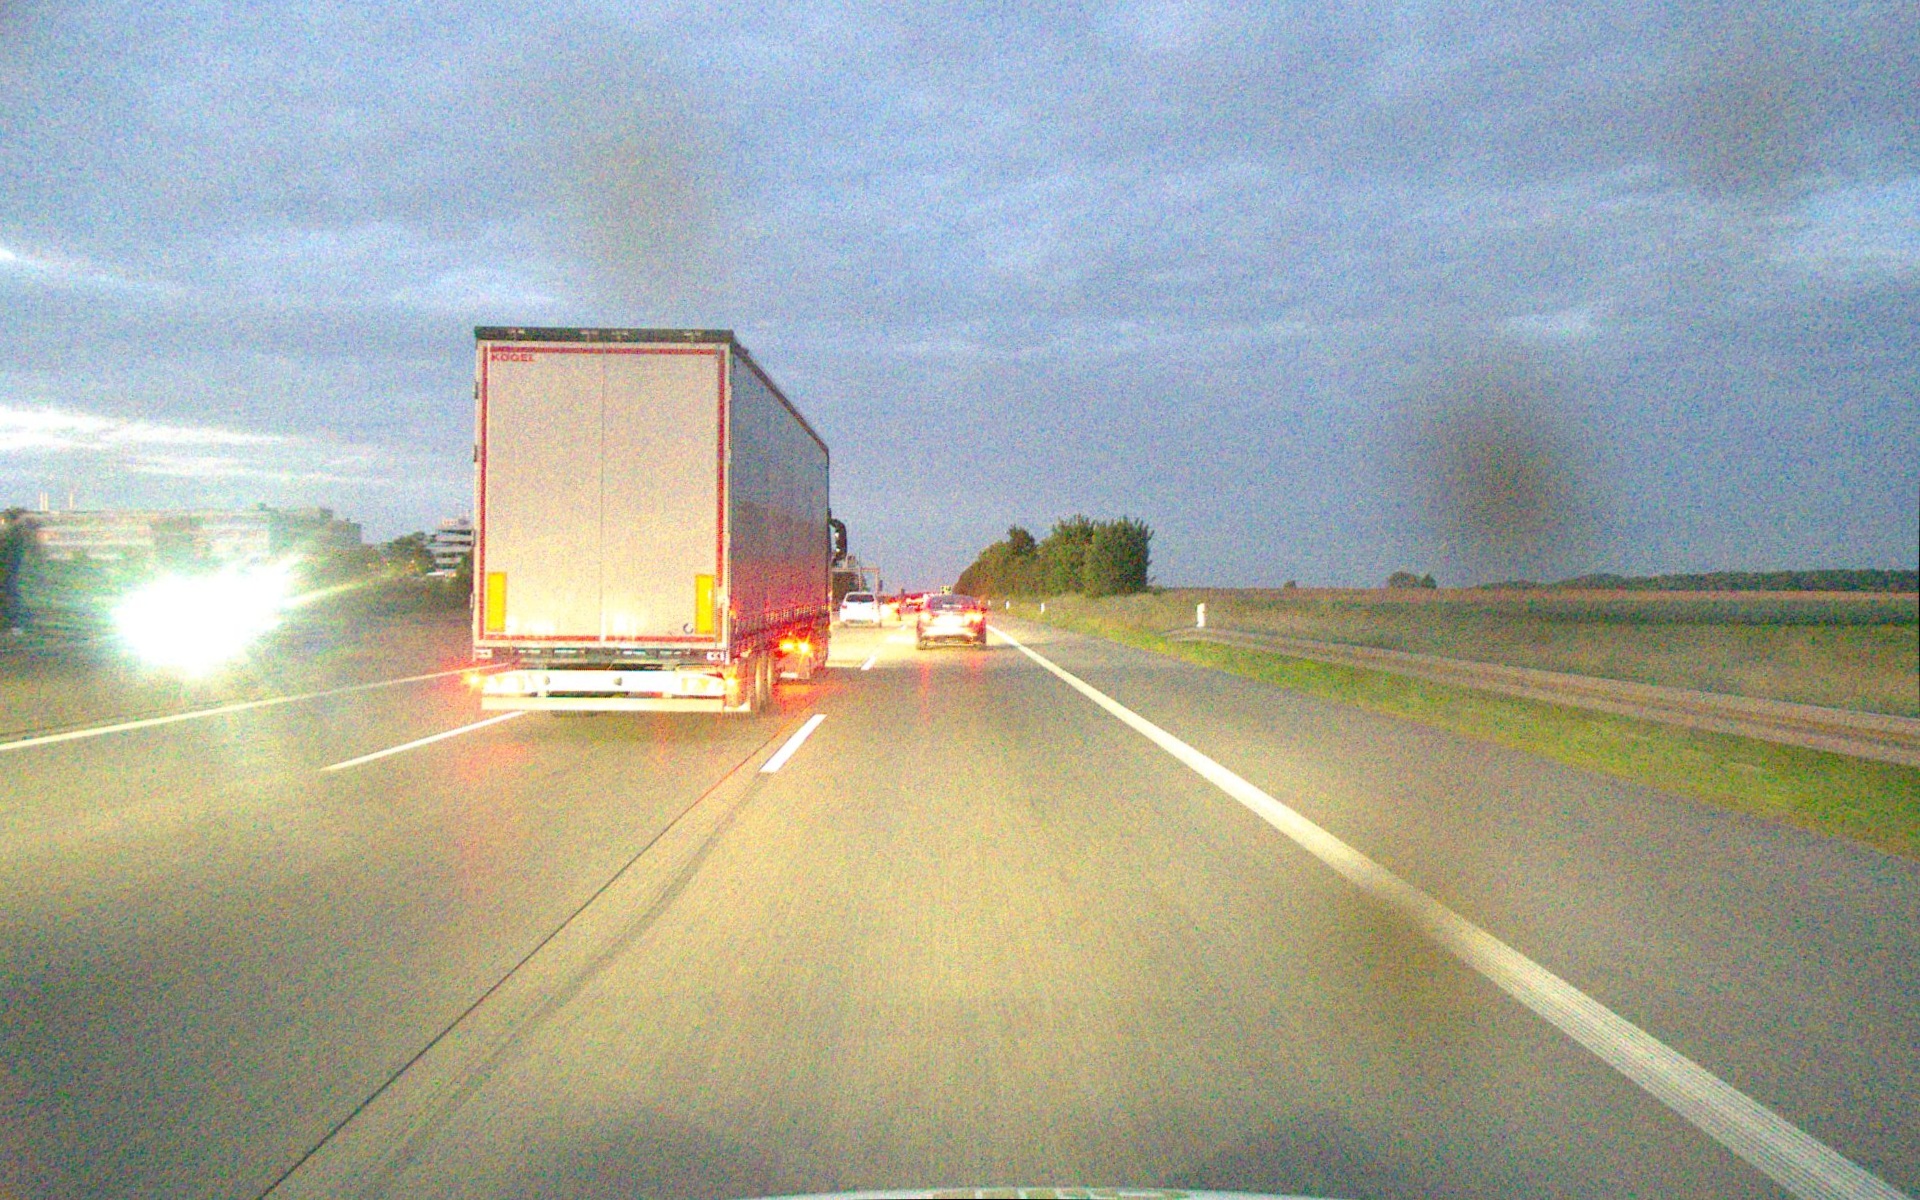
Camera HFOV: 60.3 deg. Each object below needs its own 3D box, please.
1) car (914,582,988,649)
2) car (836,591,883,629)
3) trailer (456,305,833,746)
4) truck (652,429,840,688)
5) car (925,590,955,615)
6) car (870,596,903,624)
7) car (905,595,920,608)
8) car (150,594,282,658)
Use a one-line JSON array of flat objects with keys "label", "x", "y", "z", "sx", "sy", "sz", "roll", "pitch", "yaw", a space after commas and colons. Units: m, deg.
[{"label": "car", "x": -0.261, "y": 0.400, "z": 44.006, "sx": 1.842, "sy": 1.672, "sz": 3.999, "roll": 1, "pitch": 0, "yaw": -1}, {"label": "car", "x": -4.263, "y": 0.435, "z": 70.781, "sx": 1.708, "sy": 1.551, "sz": 4.414, "roll": 1, "pitch": 0, "yaw": 0}, {"label": "trailer", "x": -3.528, "y": -0.660, "z": 22.861, "sx": 2.737, "sy": 4.157, "sz": 14.521, "roll": 0, "pitch": 0, "yaw": -1}, {"label": "truck", "x": -3.669, "y": -0.655, "z": 29.723, "sx": 2.721, "sy": 4.164, "sz": 6.101, "roll": 0, "pitch": 0, "yaw": -1}, {"label": "car", "x": -1.322, "y": 0.178, "z": 106.896, "sx": 1.842, "sy": 1.579, "sz": 3.999, "roll": 1, "pitch": 0, "yaw": -1}, {"label": "car", "x": -4.080, "y": 0.537, "z": 92.038, "sx": 1.688, "sy": 1.497, "sz": 4.725, "roll": 1, "pitch": 0, "yaw": -1}, {"label": "car", "x": -6.088, "y": 0.229, "z": 211.709, "sx": 1.842, "sy": 1.579, "sz": 3.999, "roll": 1, "pitch": 0, "yaw": -1}, {"label": "car", "x": -23.454, "y": 0.803, "z": 52.374, "sx": 1.953, "sy": 1.879, "sz": 4.956, "roll": 1, "pitch": 0, "yaw": -1}]
